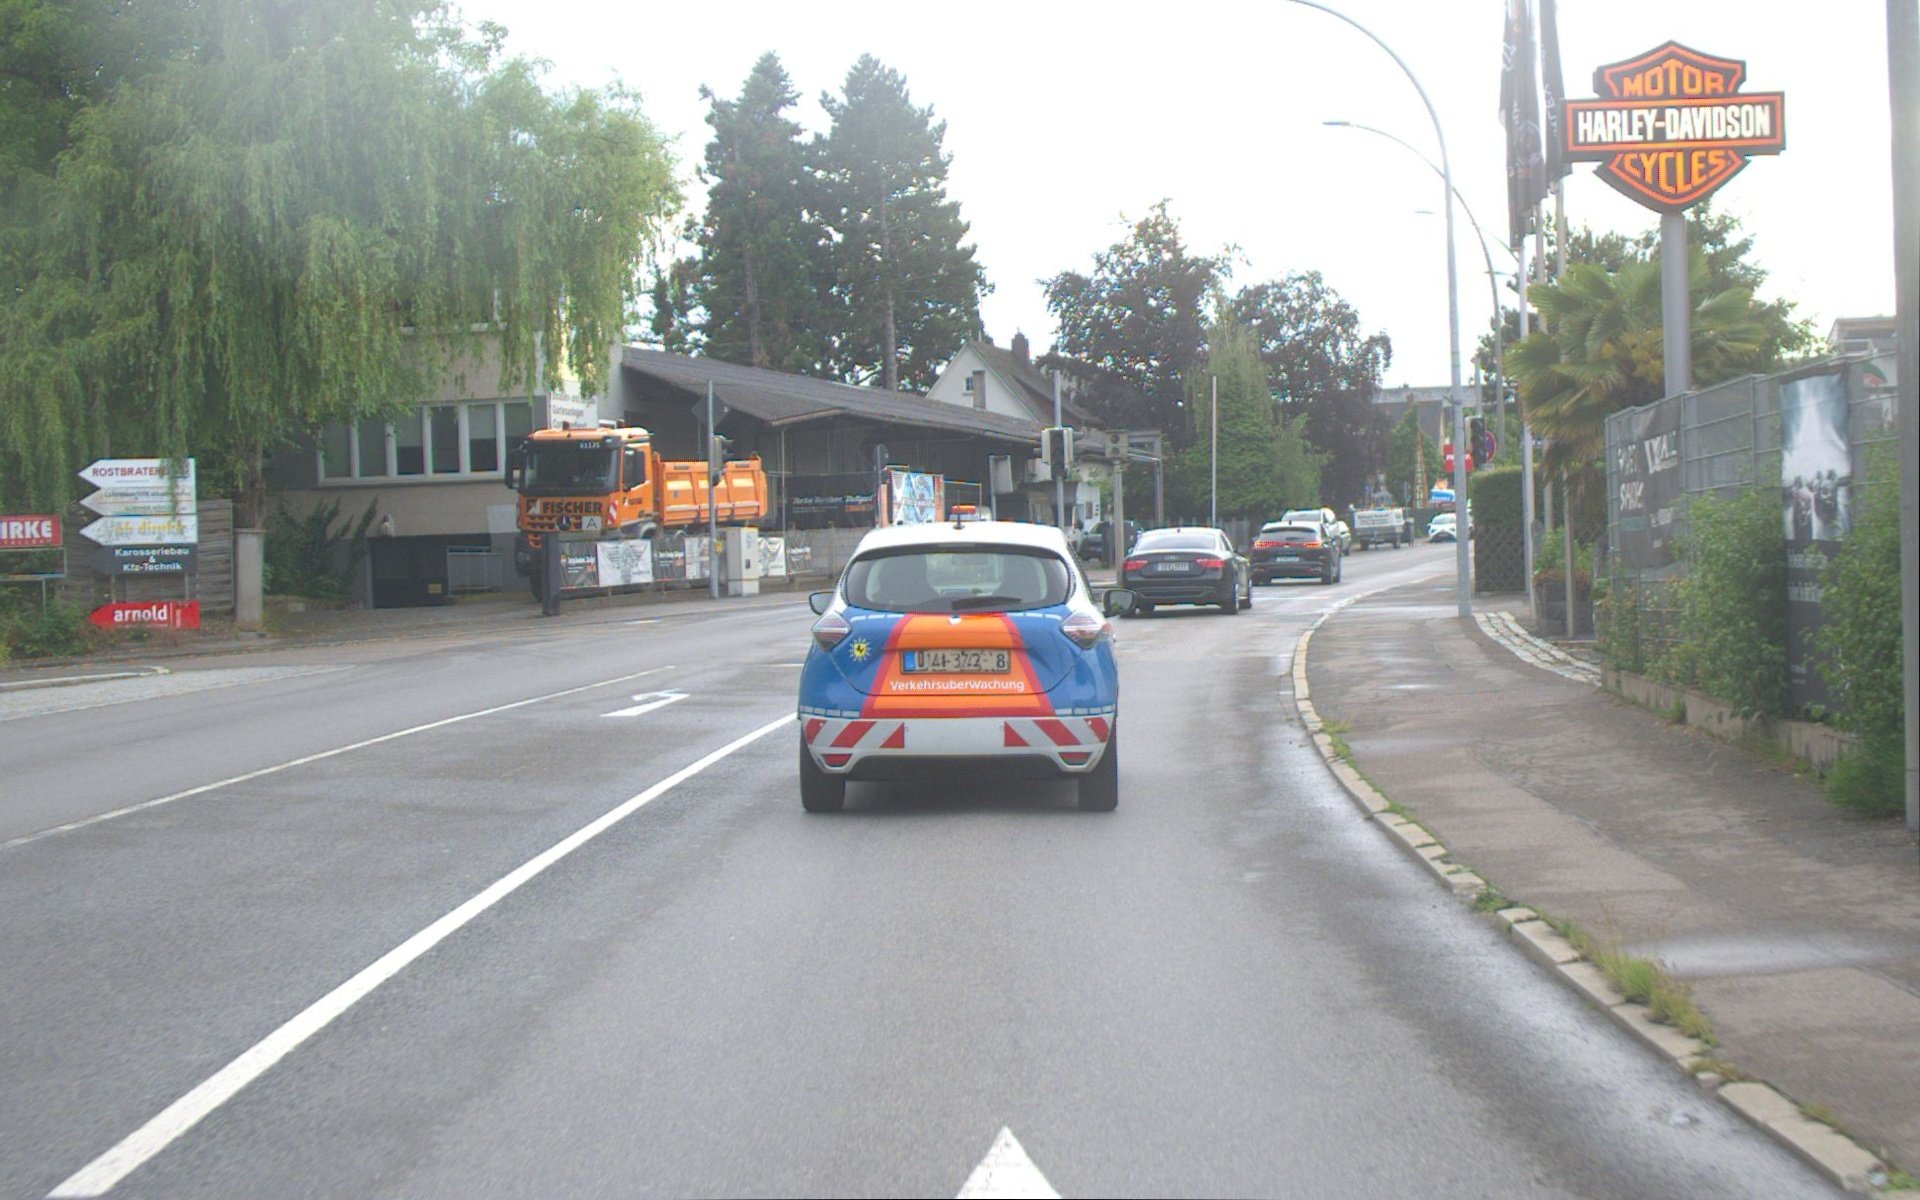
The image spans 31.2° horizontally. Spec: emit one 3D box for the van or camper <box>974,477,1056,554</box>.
[{"bbox_3d":[1.935,-2.898,118.803,1.860,2.429,5.231,2,0,11],"label":"van or camper"}]

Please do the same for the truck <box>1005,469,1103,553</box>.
[{"bbox_3d":[3.427,-3.173,124.325,2.396,2.917,5.954,1,1,13],"label":"truck"}]

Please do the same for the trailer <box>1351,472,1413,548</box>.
[{"bbox_3d":[19.487,-4.165,158.484,2.222,2.004,4.439,-18,11,12],"label":"trailer"}]

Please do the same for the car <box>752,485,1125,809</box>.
[{"bbox_3d":[-0.108,0.193,19.707,1.888,1.626,4.000,-1,1,0],"label":"car"}]

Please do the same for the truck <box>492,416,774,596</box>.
[{"bbox_3d":[-6.615,-1.844,71.274,2.699,3.400,9.065,1,0,16],"label":"truck"}]

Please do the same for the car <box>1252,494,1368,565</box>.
[{"bbox_3d":[7.746,-1.534,75.748,1.995,1.415,3.997,1,0,14],"label":"car"}]

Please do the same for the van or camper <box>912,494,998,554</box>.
[{"bbox_3d":[-0.145,-2.472,112.225,1.994,1.902,4.470,1,1,11],"label":"van or camper"}]

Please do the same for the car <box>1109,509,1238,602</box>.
[{"bbox_3d":[3.339,-0.683,54.399,1.720,1.371,3.934,1,0,-1],"label":"car"}]
